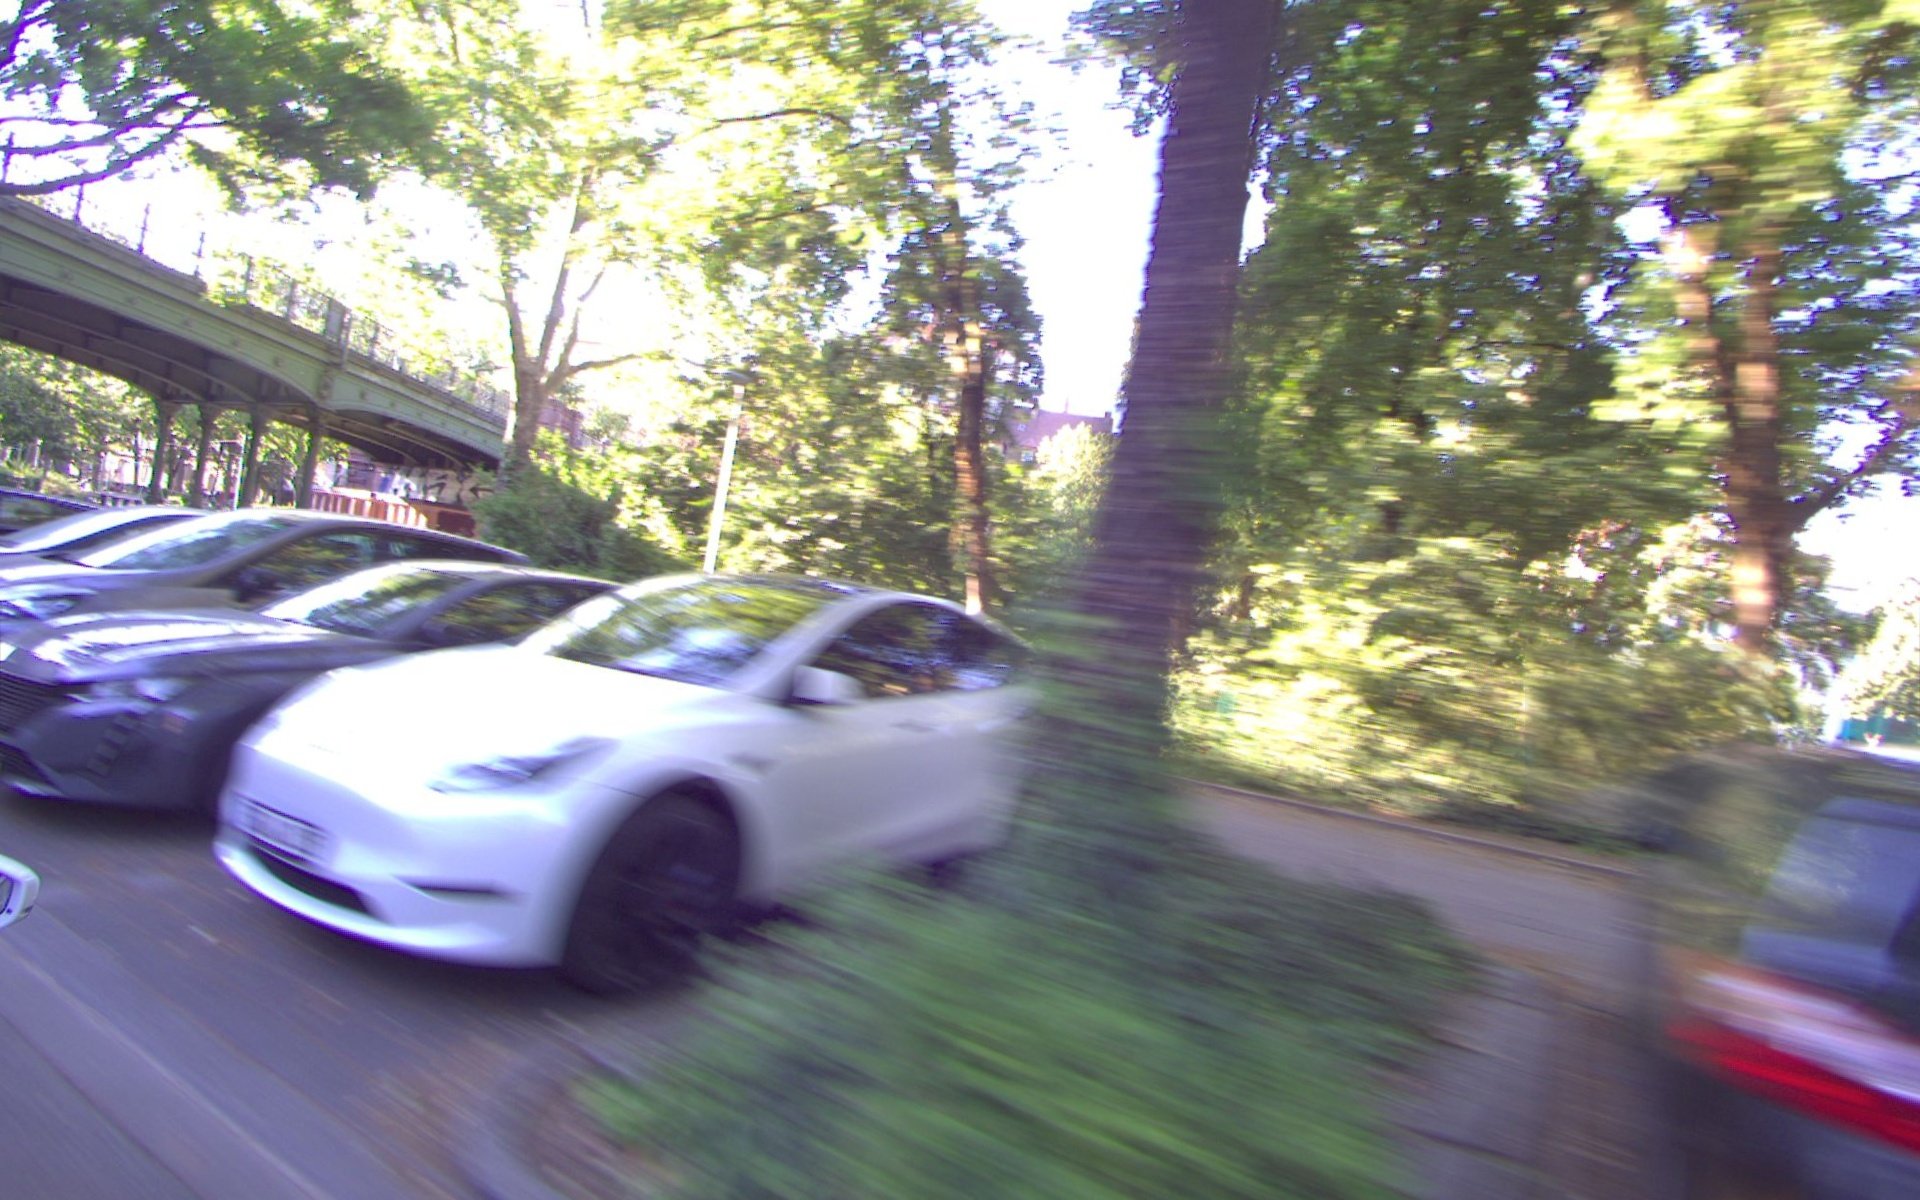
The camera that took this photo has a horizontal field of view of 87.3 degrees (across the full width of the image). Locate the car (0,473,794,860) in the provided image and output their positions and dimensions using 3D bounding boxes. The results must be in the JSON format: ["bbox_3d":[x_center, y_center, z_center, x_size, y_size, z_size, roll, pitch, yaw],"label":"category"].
[{"bbox_3d":[-3.302,0.466,6.428,1.845,1.549,4.385,7,-3,32],"label":"car"}]

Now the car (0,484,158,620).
[{"bbox_3d":[-13.437,-0.853,12.991,1.647,1.594,4.385,7,-3,32],"label":"car"}]

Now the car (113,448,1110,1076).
[{"bbox_3d":[-1.093,0.647,5.204,1.876,1.714,4.543,7,-3,32],"label":"car"}]

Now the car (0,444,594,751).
[{"bbox_3d":[-5.344,0.126,7.780,1.875,1.727,4.387,7,-3,30],"label":"car"}]

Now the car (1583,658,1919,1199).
[{"bbox_3d":[2.739,1.203,2.778,1.561,1.591,4.031,7,-3,32],"label":"car"}]

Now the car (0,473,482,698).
[{"bbox_3d":[-7.287,-0.078,9.538,1.709,1.624,4.588,7,-2,38],"label":"car"}]

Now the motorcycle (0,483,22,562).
[{"bbox_3d":[-16.157,-1.378,15.706,0.887,1.251,1.940,8,-3,9],"label":"motorcycle"}]
